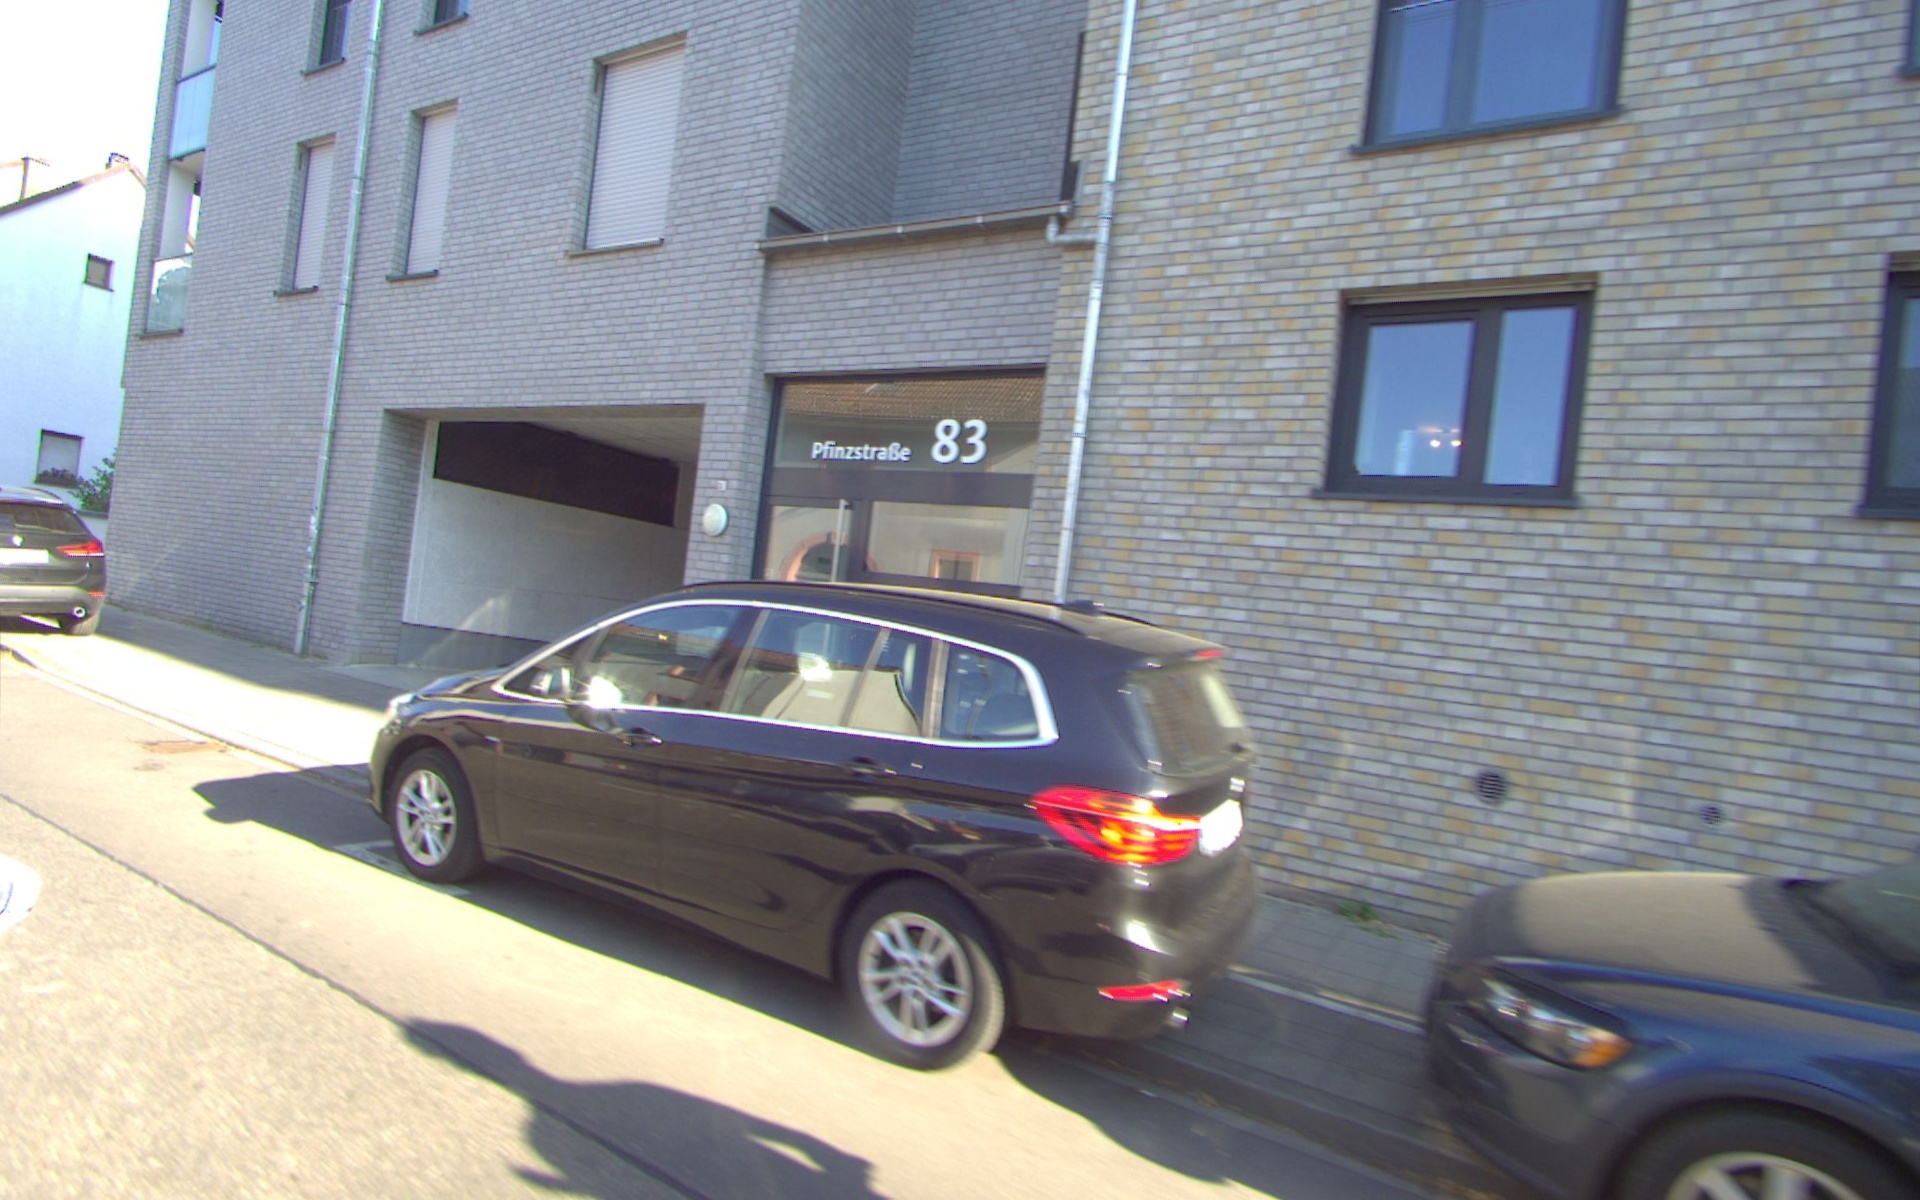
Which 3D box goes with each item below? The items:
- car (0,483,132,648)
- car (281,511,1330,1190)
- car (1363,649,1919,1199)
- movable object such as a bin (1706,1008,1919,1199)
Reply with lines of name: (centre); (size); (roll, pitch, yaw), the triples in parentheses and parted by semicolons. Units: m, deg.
car: (-11.589, -0.563, 11.519); (4.546, 1.658, 1.855); (7, 2, 32)
car: (-0.889, 0.705, 4.917); (4.680, 1.673, 1.998); (7, -1, 29)
car: (3.552, 1.193, 2.603); (4.293, 1.524, 1.997); (7, -1, 30)
movable object such as a bin: (1.992, 1.290, 1.146); (1.809, 1.044, 0.456); (5, -4, 29)
